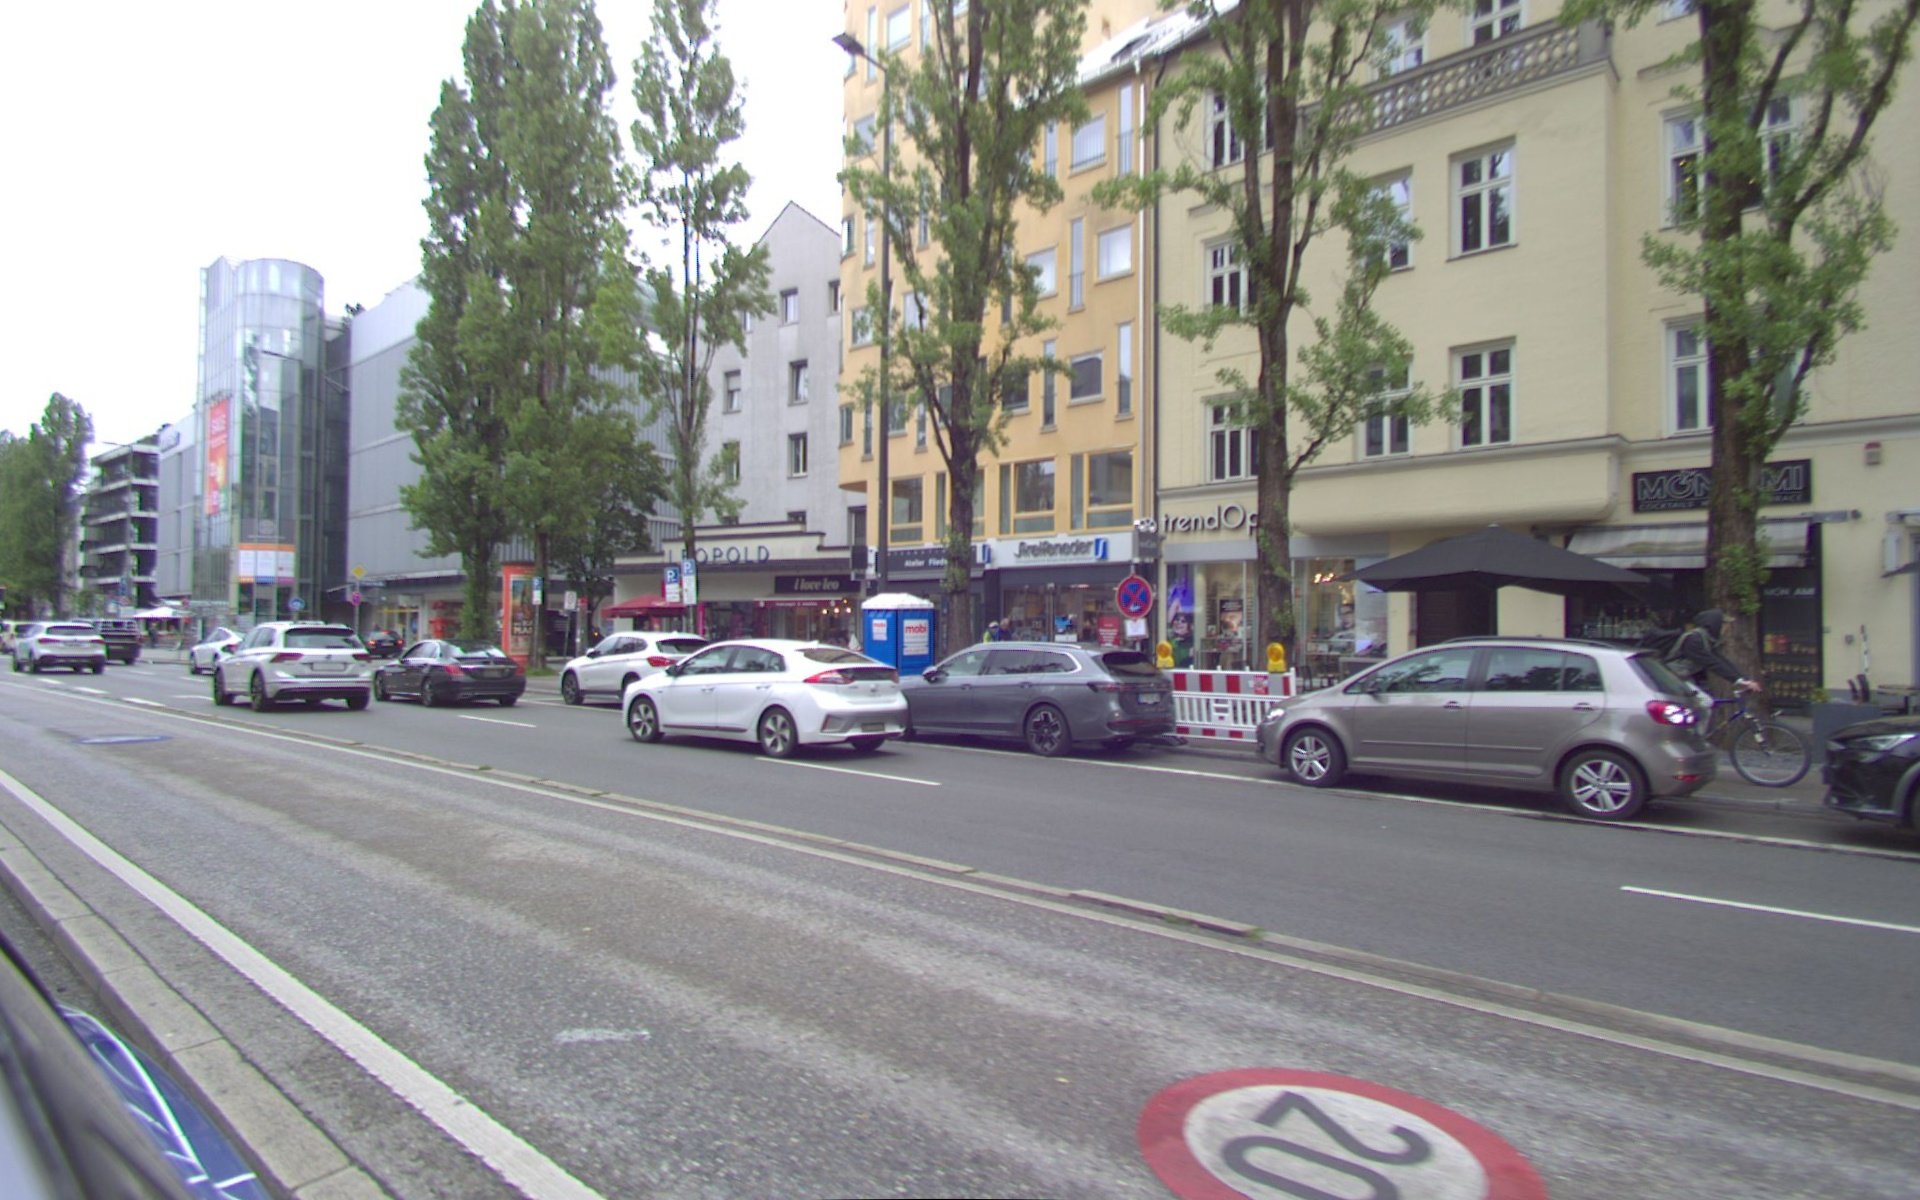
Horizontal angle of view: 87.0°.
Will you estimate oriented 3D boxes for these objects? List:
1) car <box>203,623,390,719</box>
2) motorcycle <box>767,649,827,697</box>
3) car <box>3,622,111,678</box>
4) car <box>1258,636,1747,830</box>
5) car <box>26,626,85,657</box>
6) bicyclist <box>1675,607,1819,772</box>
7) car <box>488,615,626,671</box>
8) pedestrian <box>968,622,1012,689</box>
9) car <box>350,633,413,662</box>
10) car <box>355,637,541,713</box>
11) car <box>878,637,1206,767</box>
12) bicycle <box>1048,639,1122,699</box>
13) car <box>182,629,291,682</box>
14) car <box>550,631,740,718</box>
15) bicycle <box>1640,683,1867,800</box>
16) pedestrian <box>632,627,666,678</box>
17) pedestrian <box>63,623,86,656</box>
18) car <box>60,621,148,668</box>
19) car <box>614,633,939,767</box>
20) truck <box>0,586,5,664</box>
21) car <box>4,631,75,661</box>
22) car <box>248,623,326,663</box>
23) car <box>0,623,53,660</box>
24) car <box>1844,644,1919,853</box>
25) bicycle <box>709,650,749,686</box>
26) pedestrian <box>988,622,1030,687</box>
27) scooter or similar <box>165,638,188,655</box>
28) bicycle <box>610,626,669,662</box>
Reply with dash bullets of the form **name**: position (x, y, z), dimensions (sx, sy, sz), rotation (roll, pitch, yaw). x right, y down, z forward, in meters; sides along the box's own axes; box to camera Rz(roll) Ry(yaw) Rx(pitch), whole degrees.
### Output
- **car**: position (-13.060, 1.316, 19.828), dimensions (4.462, 1.655, 1.919), rotation (-1, -3, 41)
- **motorcycle**: position (-3.976, 1.773, 24.858), dimensions (0.483, 1.044, 2.047), rotation (0, 0, 21)
- **car**: position (-29.820, 1.639, 33.393), dimensions (4.529, 1.724, 1.842), rotation (-1, -4, 38)
- **car**: position (5.251, 1.148, 10.130), dimensions (4.000, 1.530, 1.785), rotation (-2, -4, 43)
- **car**: position (-46.158, 2.114, 51.611), dimensions (4.984, 1.481, 1.836), rotation (-2, -5, 44)
- **bicyclist**: position (8.025, 0.880, 10.339), dimensions (1.106, 1.593, 0.491), rotation (-2, -3, 41)
- **car**: position (-19.871, 2.115, 50.142), dimensions (2.176, 2.625, 5.980), rotation (-2, -3, 41)
- **pedestrian**: position (0.759, 1.391, 25.659), dimensions (0.763, 1.638, 0.831), rotation (0, -1, 40)
- **car**: position (-30.320, 2.460, 52.960), dimensions (1.899, 1.450, 4.512), rotation (3, -3, -42)
- **car**: position (-11.085, 1.535, 21.781), dimensions (4.534, 1.445, 1.920), rotation (-1, -3, 40)
- **car**: position (1.036, 1.296, 14.143), dimensions (4.294, 1.505, 1.919), rotation (-1, -3, 41)
- **bicycle**: position (2.372, 1.278, 19.045), dimensions (0.621, 1.049, 1.992), rotation (-1, -3, 31)
- **car**: position (-24.290, 1.825, 33.919), dimensions (4.634, 1.664, 1.972), rotation (-1, -4, 42)
- **car**: position (-6.766, 1.494, 21.496), dimensions (4.382, 1.642, 1.971), rotation (-2, -3, 44)
- **bicycle**: position (8.024, 1.396, 10.303), dimensions (1.766, 1.014, 0.504), rotation (-2, -3, 41)
- **pedestrian**: position (-11.781, 1.975, 38.334), dimensions (0.830, 1.913, 0.851), rotation (-1, -3, 33)
- **pedestrian**: position (-49.876, 2.217, 56.993), dimensions (0.845, 1.881, 0.778), rotation (-1, -3, 38)
- **car**: position (-36.535, 1.894, 43.155), dimensions (5.709, 1.878, 1.972), rotation (-1, -4, 41)
- **car**: position (-2.550, 1.212, 13.582), dimensions (4.289, 1.505, 1.921), rotation (-1, -3, 38)
- **truck**: position (-45.079, 1.090, 45.273), dimensions (7.147, 3.348, 2.269), rotation (-1, -3, 38)
- **car**: position (-50.566, 2.519, 55.570), dimensions (5.077, 1.564, 1.959), rotation (-1, -3, 37)
- **car**: position (-35.675, 2.259, 53.594), dimensions (5.106, 2.029, 1.974), rotation (-2, -3, 39)
- **car**: position (-55.042, 2.402, 58.836), dimensions (5.304, 2.029, 1.978), rotation (-1, -3, 32)
- **car**: position (8.862, 1.069, 6.805), dimensions (4.320, 1.494, 1.972), rotation (-2, -4, 43)
- **bicycle**: position (-6.557, 1.927, 28.690), dimensions (1.478, 0.983, 0.289), rotation (-2, -3, 43)
- **pedestrian**: position (1.272, 1.393, 26.406), dimensions (0.763, 1.638, 0.831), rotation (0, -1, 40)
- **scooter or similar**: position (-51.425, 3.053, 66.398), dimensions (1.366, 1.148, 0.366), rotation (0, -2, 10)
- **bicycle**: position (-12.036, 1.651, 37.974), dimensions (2.298, 1.318, 0.839), rotation (-1, -3, 35)
